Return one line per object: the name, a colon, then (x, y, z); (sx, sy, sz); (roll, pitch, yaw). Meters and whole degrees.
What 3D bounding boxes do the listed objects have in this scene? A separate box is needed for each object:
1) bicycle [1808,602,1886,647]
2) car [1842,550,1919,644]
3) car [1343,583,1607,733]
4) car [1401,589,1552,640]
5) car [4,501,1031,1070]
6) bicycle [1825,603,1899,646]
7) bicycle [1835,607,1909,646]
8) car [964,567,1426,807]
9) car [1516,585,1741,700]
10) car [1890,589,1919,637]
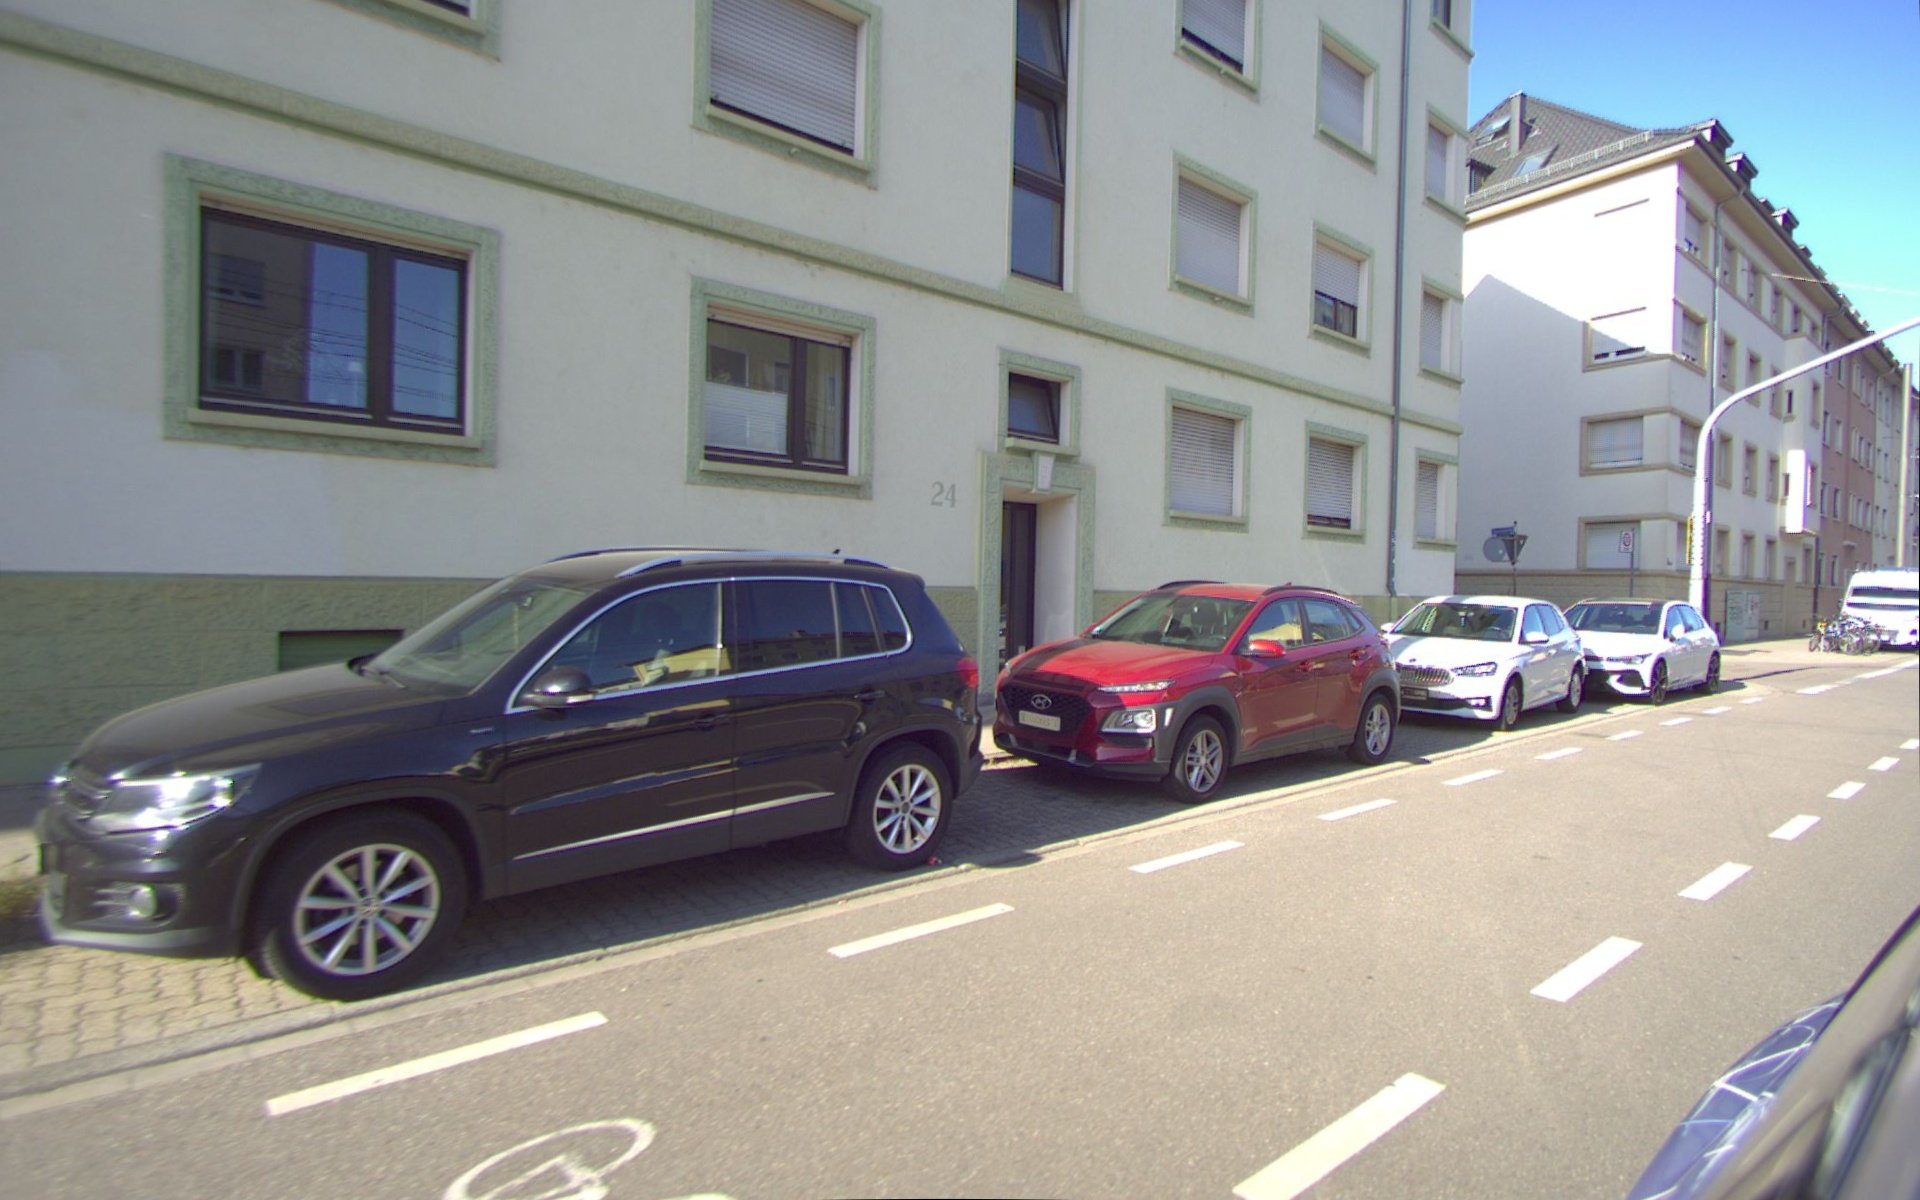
bicycle: (24.759, 0.654, 28.298); (0.465, 1.100, 1.917); (4, 2, 2)
car: (30.244, -0.091, 32.348); (6.181, 2.729, 2.156); (0, 3, -41)
car: (6.349, 0.582, 12.274); (4.014, 1.476, 1.637); (0, 2, -45)
car: (15.474, 0.435, 30.509); (1.678, 1.442, 3.744); (0, -1, -30)
car: (-1.746, 0.496, 5.016); (4.300, 1.667, 1.638); (0, 3, -43)
bicycle: (25.705, 0.676, 28.891); (0.465, 1.100, 1.917); (-2, 2, 2)
bicycle: (26.457, 0.757, 29.391); (0.478, 1.101, 2.024); (-1, -1, 7)
car: (2.142, 0.562, 8.541); (4.114, 1.536, 1.639); (1, 2, -40)
car: (10.284, 0.564, 15.446); (4.301, 1.476, 1.698); (1, 2, -40)
car: (35.589, 0.491, 37.057); (4.497, 1.657, 1.850); (0, 2, -43)
